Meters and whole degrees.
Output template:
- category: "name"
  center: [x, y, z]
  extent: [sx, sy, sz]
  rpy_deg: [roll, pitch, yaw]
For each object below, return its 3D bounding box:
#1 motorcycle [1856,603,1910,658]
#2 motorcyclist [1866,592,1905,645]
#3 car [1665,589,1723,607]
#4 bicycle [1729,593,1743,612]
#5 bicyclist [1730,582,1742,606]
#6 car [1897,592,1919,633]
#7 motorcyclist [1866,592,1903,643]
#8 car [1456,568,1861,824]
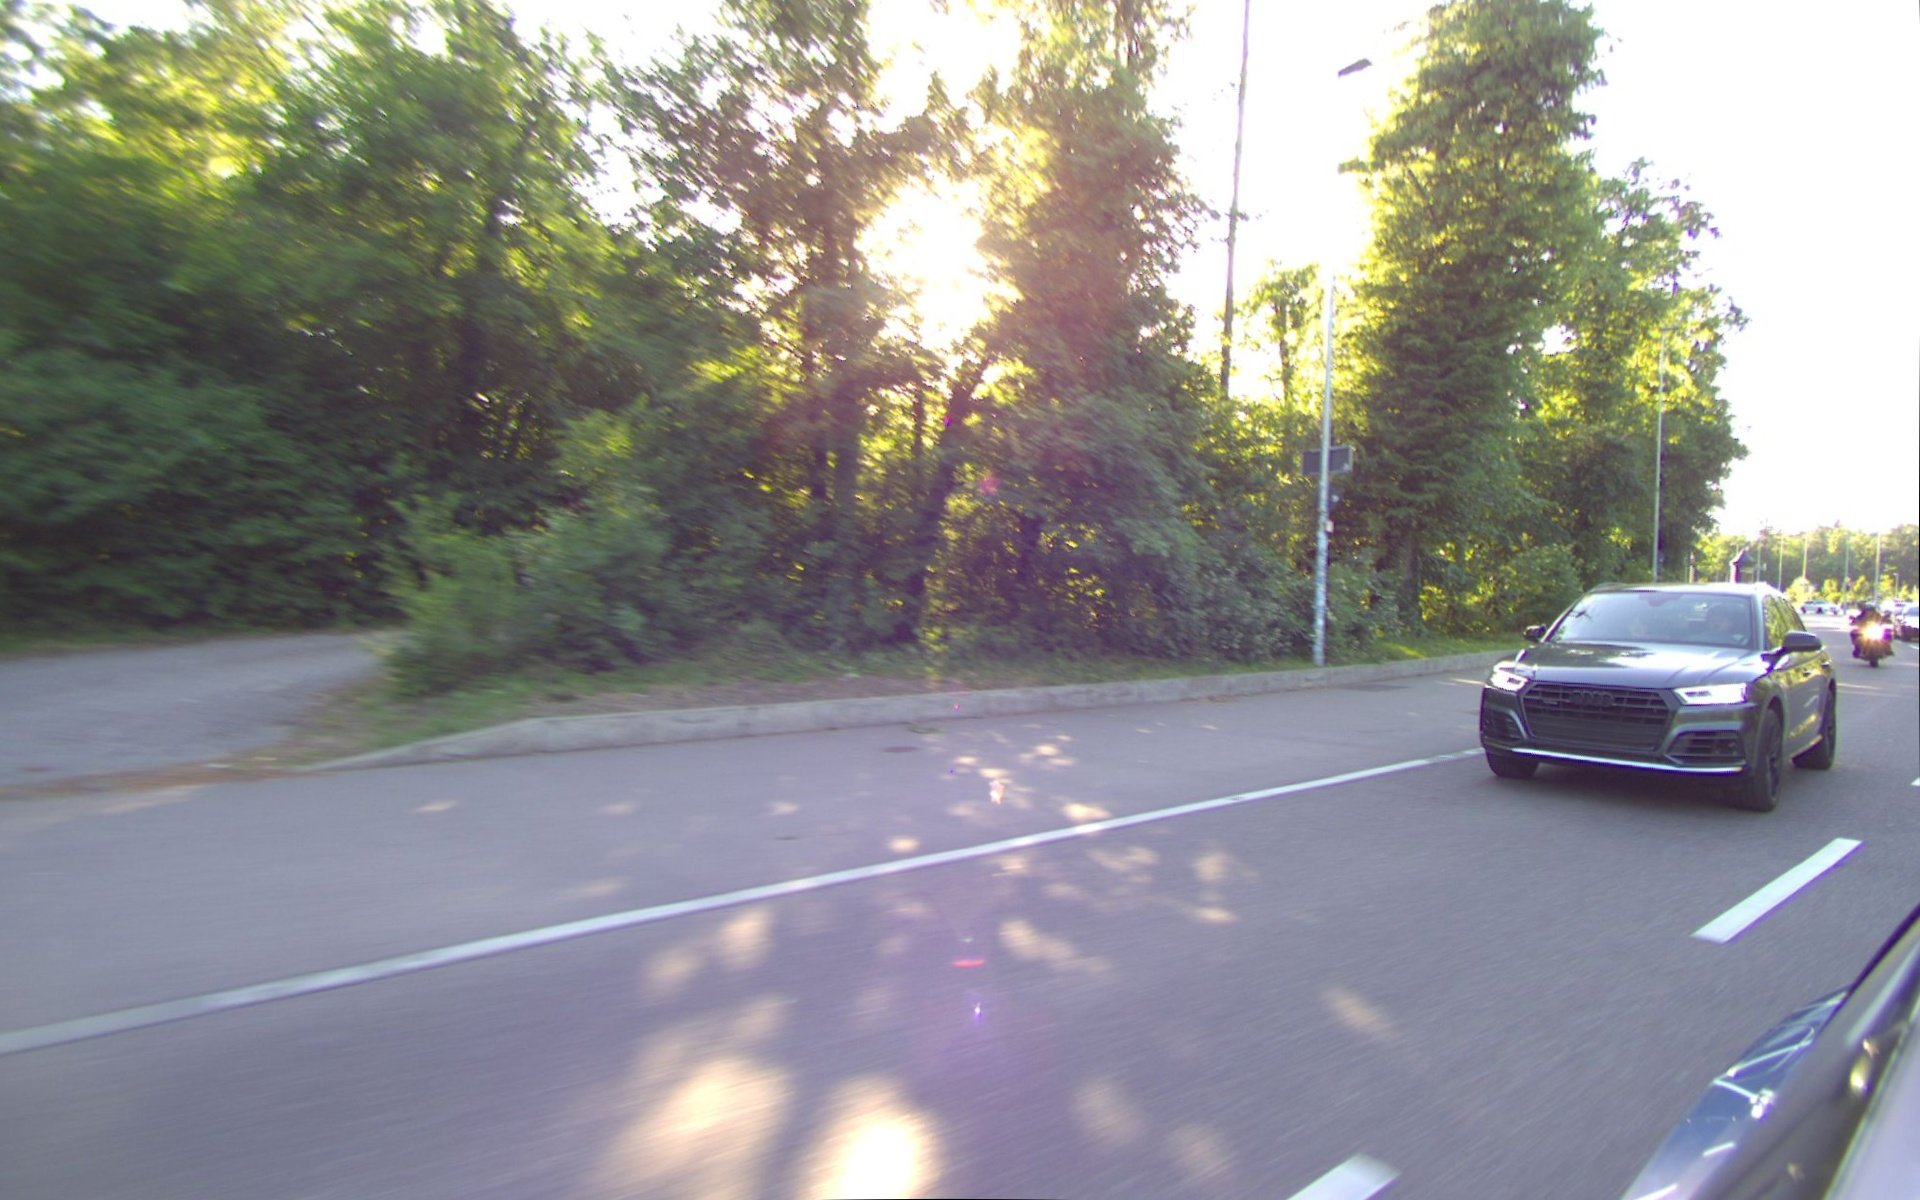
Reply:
- category: "motorcycle"
  center: [22.989, 0.734, 25.249]
  extent: [0.913, 1.266, 2.917]
  rpy_deg: [3, 1, 41]
- category: "motorcyclist"
  center: [22.947, 0.436, 25.108]
  extent: [0.669, 1.280, 0.813]
  rpy_deg: [1, 1, 41]
- category: "car"
  center: [71.663, -0.206, 98.826]
  extent: [4.375, 1.395, 1.791]
  rpy_deg: [5, 4, 45]
- category: "bicycle"
  center: [48.039, 0.145, 62.652]
  extent: [0.552, 1.151, 1.841]
  rpy_deg: [2, 1, 35]
- category: "bicyclist"
  center: [48.135, -0.363, 62.770]
  extent: [0.519, 1.487, 0.850]
  rpy_deg: [1, 1, 35]
- category: "car"
  center: [38.713, 0.506, 39.867]
  extent: [1.856, 1.566, 4.738]
  rpy_deg: [2, 1, 34]
- category: "motorcyclist"
  center: [23.513, 0.429, 25.756]
  extent: [0.669, 1.280, 0.813]
  rpy_deg: [1, 1, 42]
- category: "car"
  center: [6.130, 0.594, 8.644]
  extent: [4.467, 1.625, 1.895]
  rpy_deg: [0, 1, -42]
